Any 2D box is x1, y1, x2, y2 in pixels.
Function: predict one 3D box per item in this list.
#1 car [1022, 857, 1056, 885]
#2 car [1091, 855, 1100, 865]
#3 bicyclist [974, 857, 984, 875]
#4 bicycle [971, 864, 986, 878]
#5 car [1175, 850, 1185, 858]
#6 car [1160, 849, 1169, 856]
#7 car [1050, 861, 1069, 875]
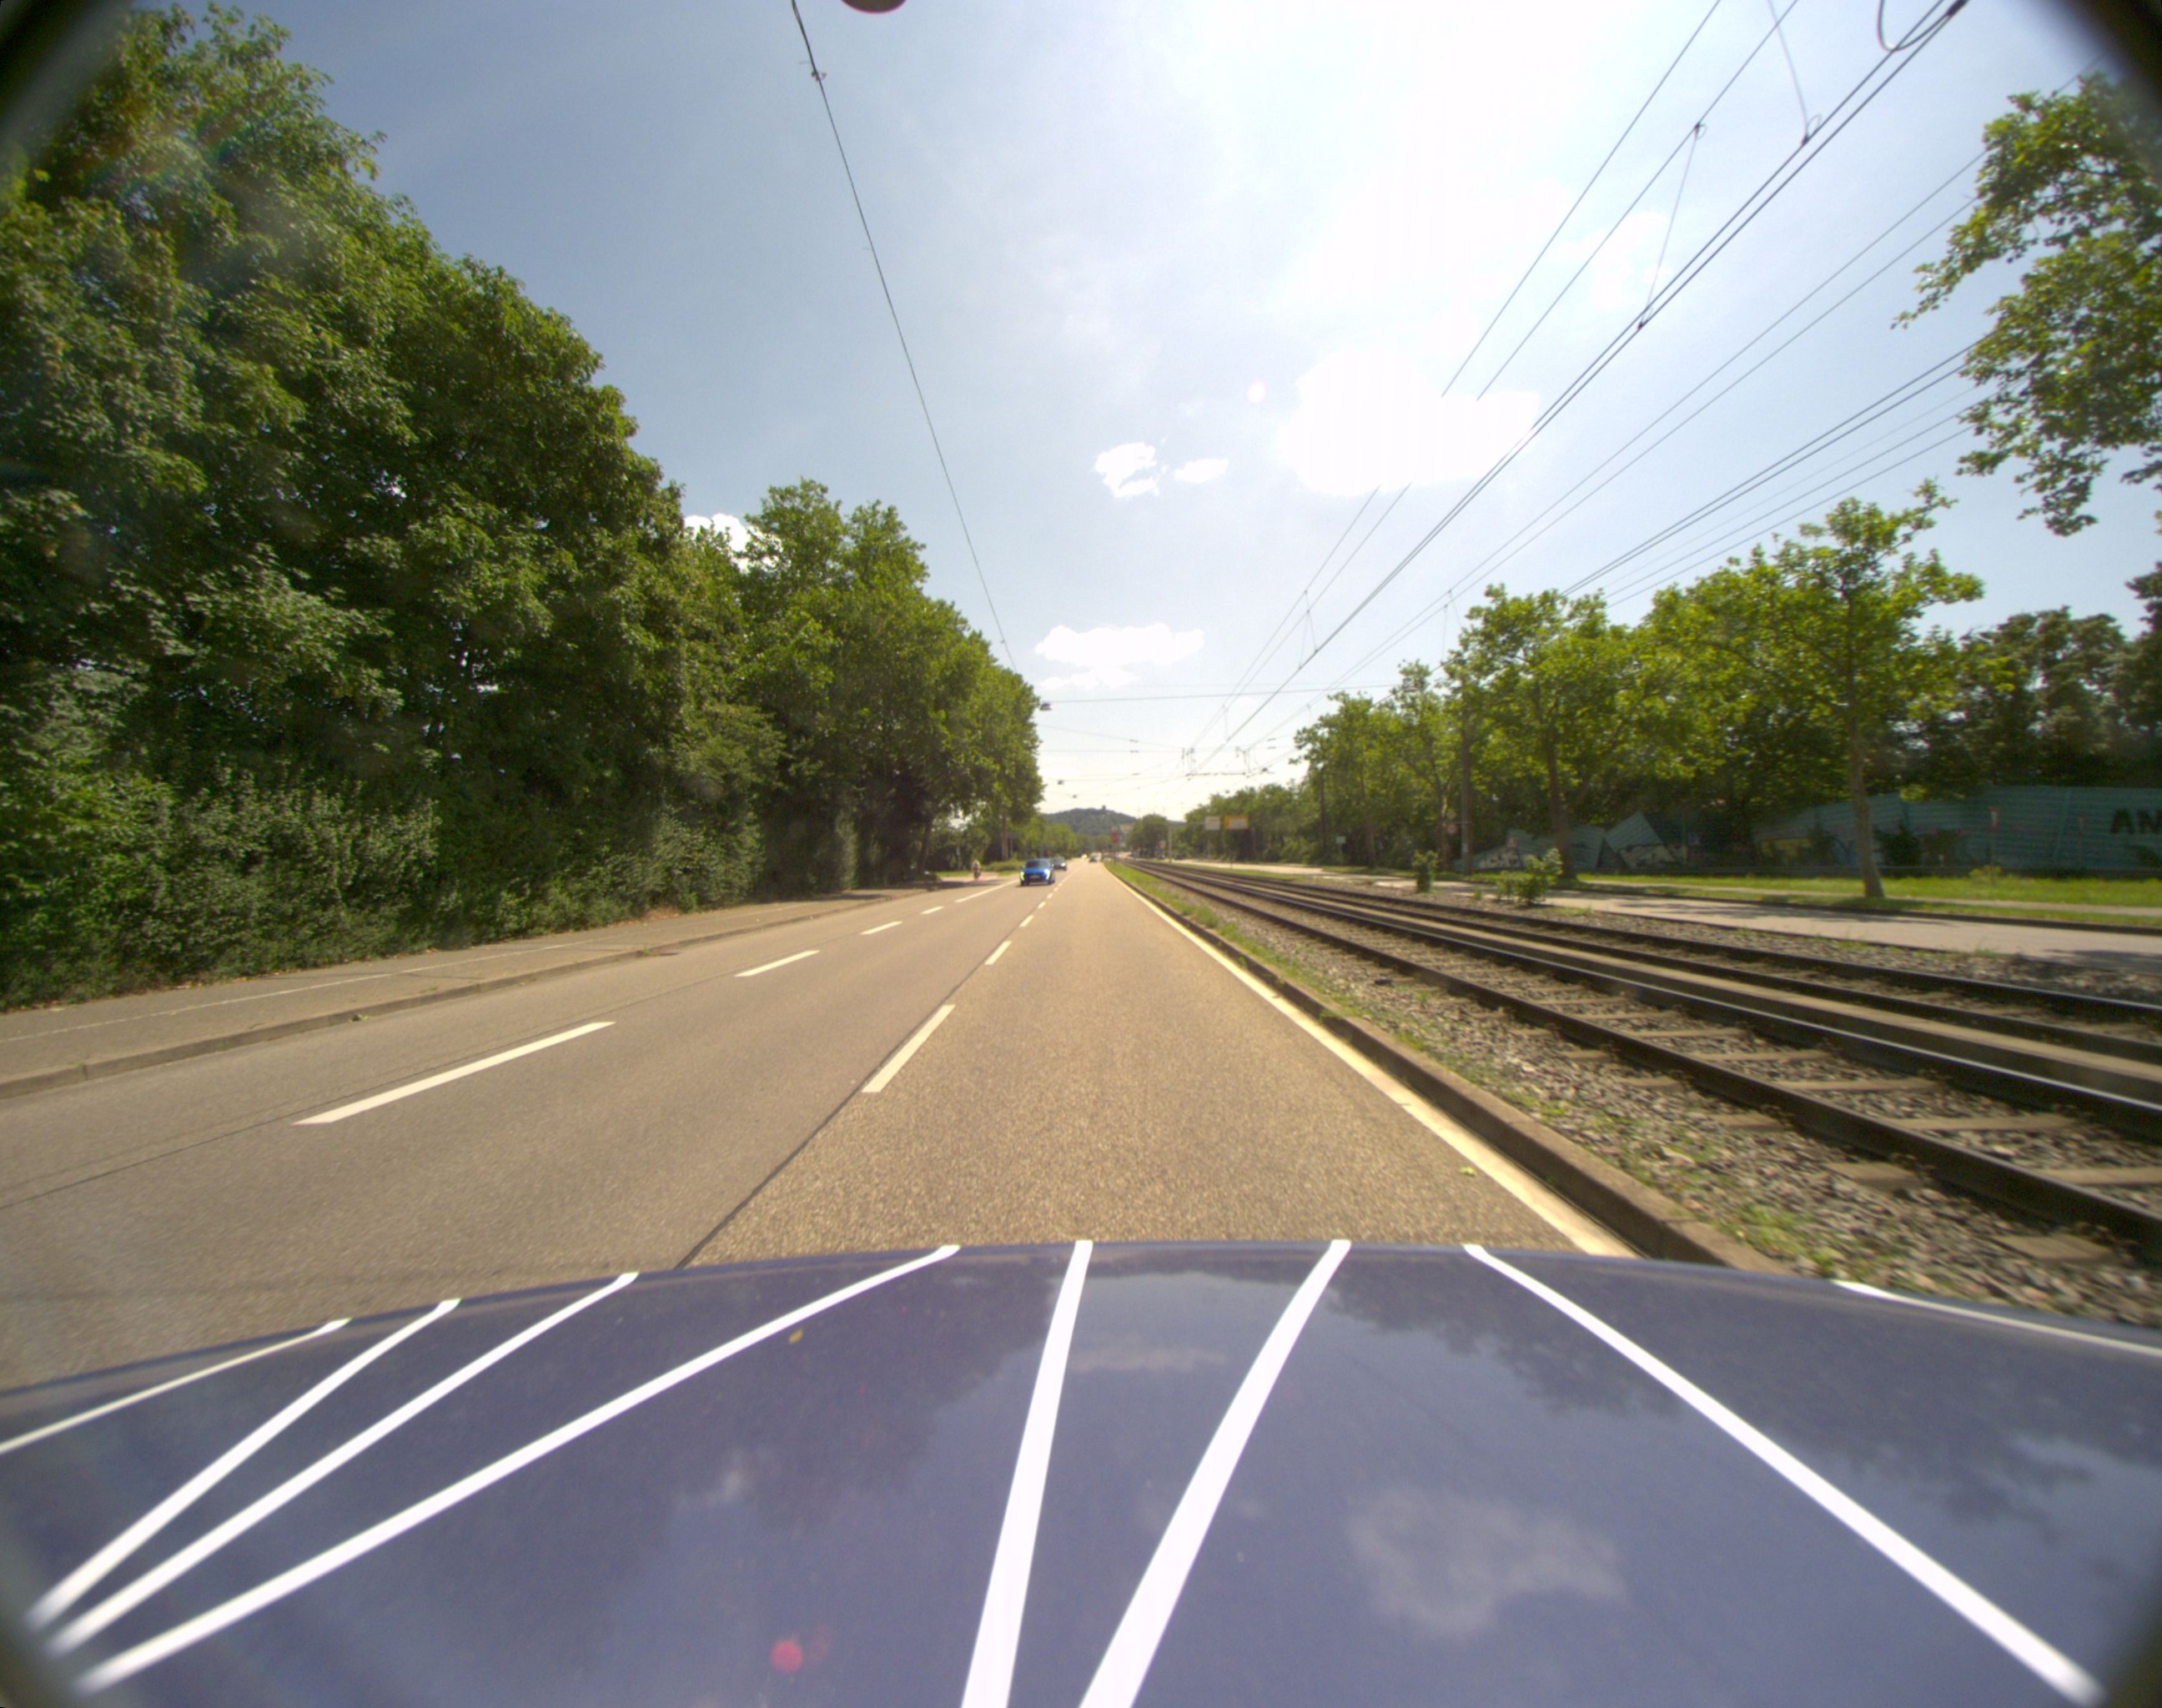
[{"bbox_3d":[-2.350,0.938,43.043,1.660,1.397,3.743,-2,1,0],"label":"car"},{"bbox_3d":[3.156,1.351,167.374,1.998,2.002,3.999,-2,1,1],"label":"car"},{"bbox_3d":[-8.357,0.994,62.363,0.704,1.431,0.641,-1,1,2],"label":"bicyclist"},{"bbox_3d":[-8.362,1.370,62.168,0.710,1.131,2.538,-1,0,3],"label":"bicycle"},{"bbox_3d":[25.510,0.013,195.290,1.998,1.783,3.999,-2,1,1],"label":"car"},{"bbox_3d":[22.577,-0.340,206.200,1.998,1.783,3.999,-2,1,1],"label":"car"},{"bbox_3d":[-2.329,1.540,83.302,1.769,1.359,3.743,-2,1,1],"label":"car"}]
